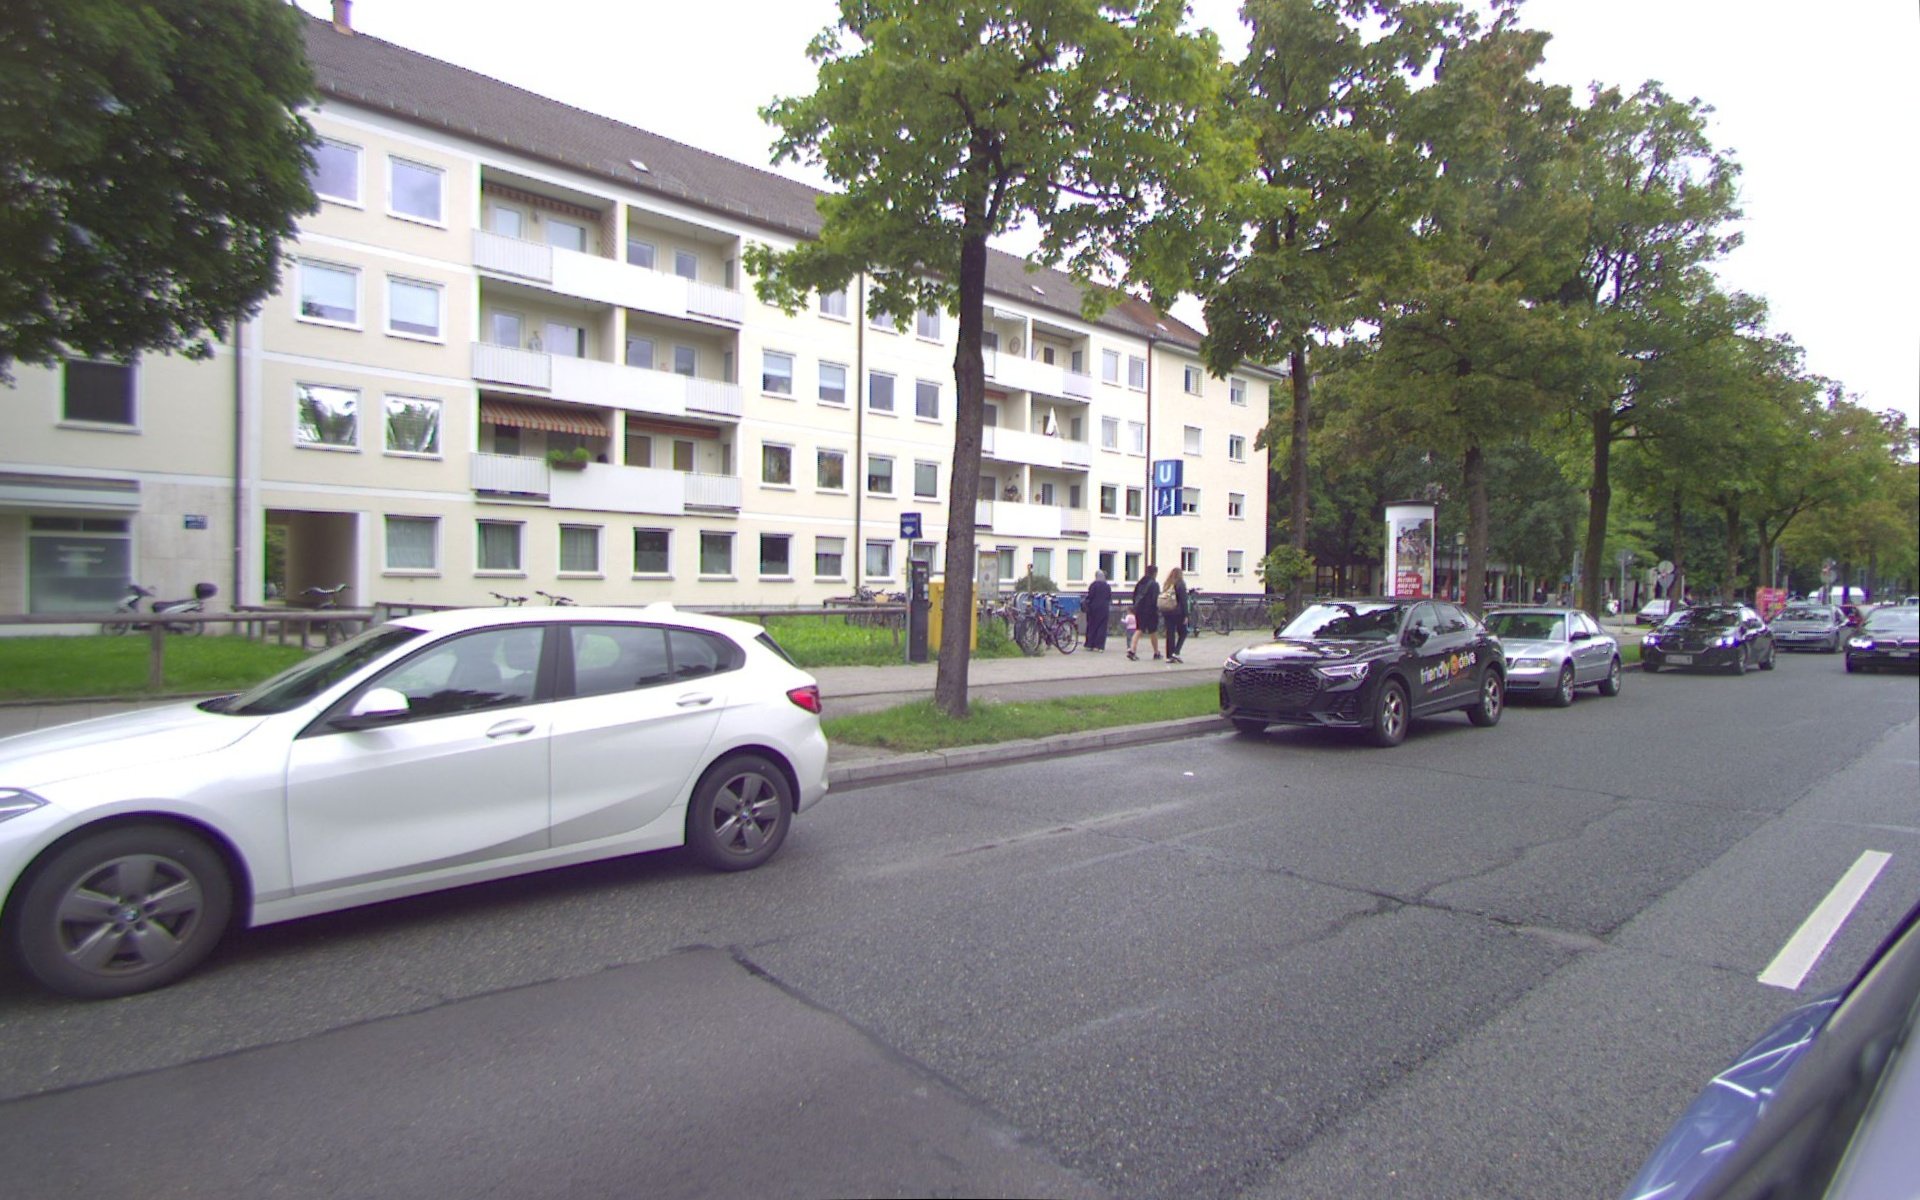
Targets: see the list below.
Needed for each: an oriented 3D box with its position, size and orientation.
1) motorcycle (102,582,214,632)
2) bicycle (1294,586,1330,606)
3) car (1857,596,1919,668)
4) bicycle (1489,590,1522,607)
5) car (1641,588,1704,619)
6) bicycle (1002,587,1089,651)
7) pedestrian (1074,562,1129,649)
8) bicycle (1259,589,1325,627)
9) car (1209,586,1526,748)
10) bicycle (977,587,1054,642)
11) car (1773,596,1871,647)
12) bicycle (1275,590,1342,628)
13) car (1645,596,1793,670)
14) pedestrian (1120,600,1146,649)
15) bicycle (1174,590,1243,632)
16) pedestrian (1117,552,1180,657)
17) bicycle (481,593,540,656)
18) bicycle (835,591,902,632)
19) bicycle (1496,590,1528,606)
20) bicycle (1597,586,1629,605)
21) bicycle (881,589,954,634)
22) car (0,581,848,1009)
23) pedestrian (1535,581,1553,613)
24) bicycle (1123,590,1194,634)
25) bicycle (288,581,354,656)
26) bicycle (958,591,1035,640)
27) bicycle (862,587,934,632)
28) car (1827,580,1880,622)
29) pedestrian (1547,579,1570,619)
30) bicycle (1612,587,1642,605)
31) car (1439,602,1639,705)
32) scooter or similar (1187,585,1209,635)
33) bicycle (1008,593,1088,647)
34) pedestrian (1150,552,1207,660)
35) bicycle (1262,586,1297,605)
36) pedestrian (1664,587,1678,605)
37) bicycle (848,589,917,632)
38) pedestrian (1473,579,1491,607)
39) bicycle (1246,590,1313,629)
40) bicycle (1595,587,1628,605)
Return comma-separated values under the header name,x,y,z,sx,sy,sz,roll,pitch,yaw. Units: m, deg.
name,x,y,z,sx,sy,sz,roll,pitch,yaw
motorcycle,-17.232,0.140,21.780,1.873,1.036,0.605,0,0,-41
bicycle,17.948,-0.228,51.638,0.448,0.983,1.692,1,1,-44
car,21.369,0.657,22.307,4.586,1.461,1.798,0,-1,-41
bicycle,39.604,-0.115,73.469,0.447,1.134,2.079,1,1,-41
car,39.966,0.191,56.755,4.122,1.654,1.826,0,2,-39
bicycle,1.638,0.352,19.185,1.850,1.147,0.432,1,1,-41
pedestrian,2.837,0.098,20.388,0.823,1.702,0.837,1,1,-14
bicycle,10.008,0.227,30.553,1.878,1.041,0.426,3,2,44
car,4.845,0.645,11.749,4.201,1.552,1.719,0,0,-41
bicycle,1.205,0.298,21.647,1.850,1.115,0.432,0,1,-41
car,26.880,0.630,31.519,4.042,1.484,1.685,0,0,-40
bicycle,10.569,0.261,30.743,1.876,1.041,0.426,3,2,42
car,16.765,0.671,22.296,4.102,1.484,1.754,0,0,-40
pedestrian,3.509,0.494,20.520,0.400,0.961,0.435,1,1,-6
bicycle,6.740,0.275,27.545,0.425,1.041,1.879,0,2,-43
pedestrian,3.510,0.067,18.870,0.904,1.913,0.730,0,2,-42
bicycle,-7.447,0.373,16.725,0.425,0.986,1.881,0,0,-39
bicycle,-2.418,0.293,26.841,1.850,1.041,0.432,0,1,-41
bicycle,40.904,-0.186,75.012,0.447,1.134,2.079,0,1,-41
bicycle,58.224,-0.450,90.273,0.638,1.643,2.312,1,1,-41
bicycle,-1.003,0.261,24.352,1.850,1.041,0.432,0,1,-41
car,-2.726,0.692,5.224,4.066,1.484,1.684,0,-1,-42
pedestrian,31.632,-0.154,54.818,0.628,1.752,0.602,0,0,-22
bicycle,5.050,0.294,25.873,0.425,1.041,1.879,0,2,-43
bicycle,-8.741,0.231,13.822,0.548,0.951,1.881,0,0,-39
bicycle,0.819,0.331,22.246,1.850,1.041,0.432,0,1,-41
bicycle,-1.513,0.229,24.861,1.850,1.041,0.432,0,1,-41
car,60.304,0.077,68.242,5.902,2.691,1.976,0,-1,-42
pedestrian,27.045,-0.063,45.733,0.835,1.771,0.640,1,2,-43
bicycle,61.662,-0.382,93.536,2.298,1.643,0.642,1,1,33
car,9.121,0.732,15.797,4.174,1.403,1.637,0,0,-44
scooter or similar,6.088,0.236,25.942,0.352,1.215,1.388,1,2,6
bicycle,1.807,0.391,20.539,1.850,1.041,0.432,0,1,-41
pedestrian,3.967,0.092,18.380,0.886,1.913,0.589,0,1,-42
bicycle,16.686,-0.245,52.900,0.448,0.983,1.692,1,1,-44
pedestrian,68.255,-0.394,97.162,0.755,1.719,0.875,0,2,-27
bicycle,-1.956,0.254,25.710,1.850,1.041,0.432,0,1,-41
pedestrian,30.323,-0.397,58.779,0.569,1.594,0.782,0,0,-6
bicycle,9.429,0.264,29.923,0.425,1.041,1.879,0,2,-43
bicycle,57.080,-0.386,88.660,0.638,1.551,2.312,0,1,-41
